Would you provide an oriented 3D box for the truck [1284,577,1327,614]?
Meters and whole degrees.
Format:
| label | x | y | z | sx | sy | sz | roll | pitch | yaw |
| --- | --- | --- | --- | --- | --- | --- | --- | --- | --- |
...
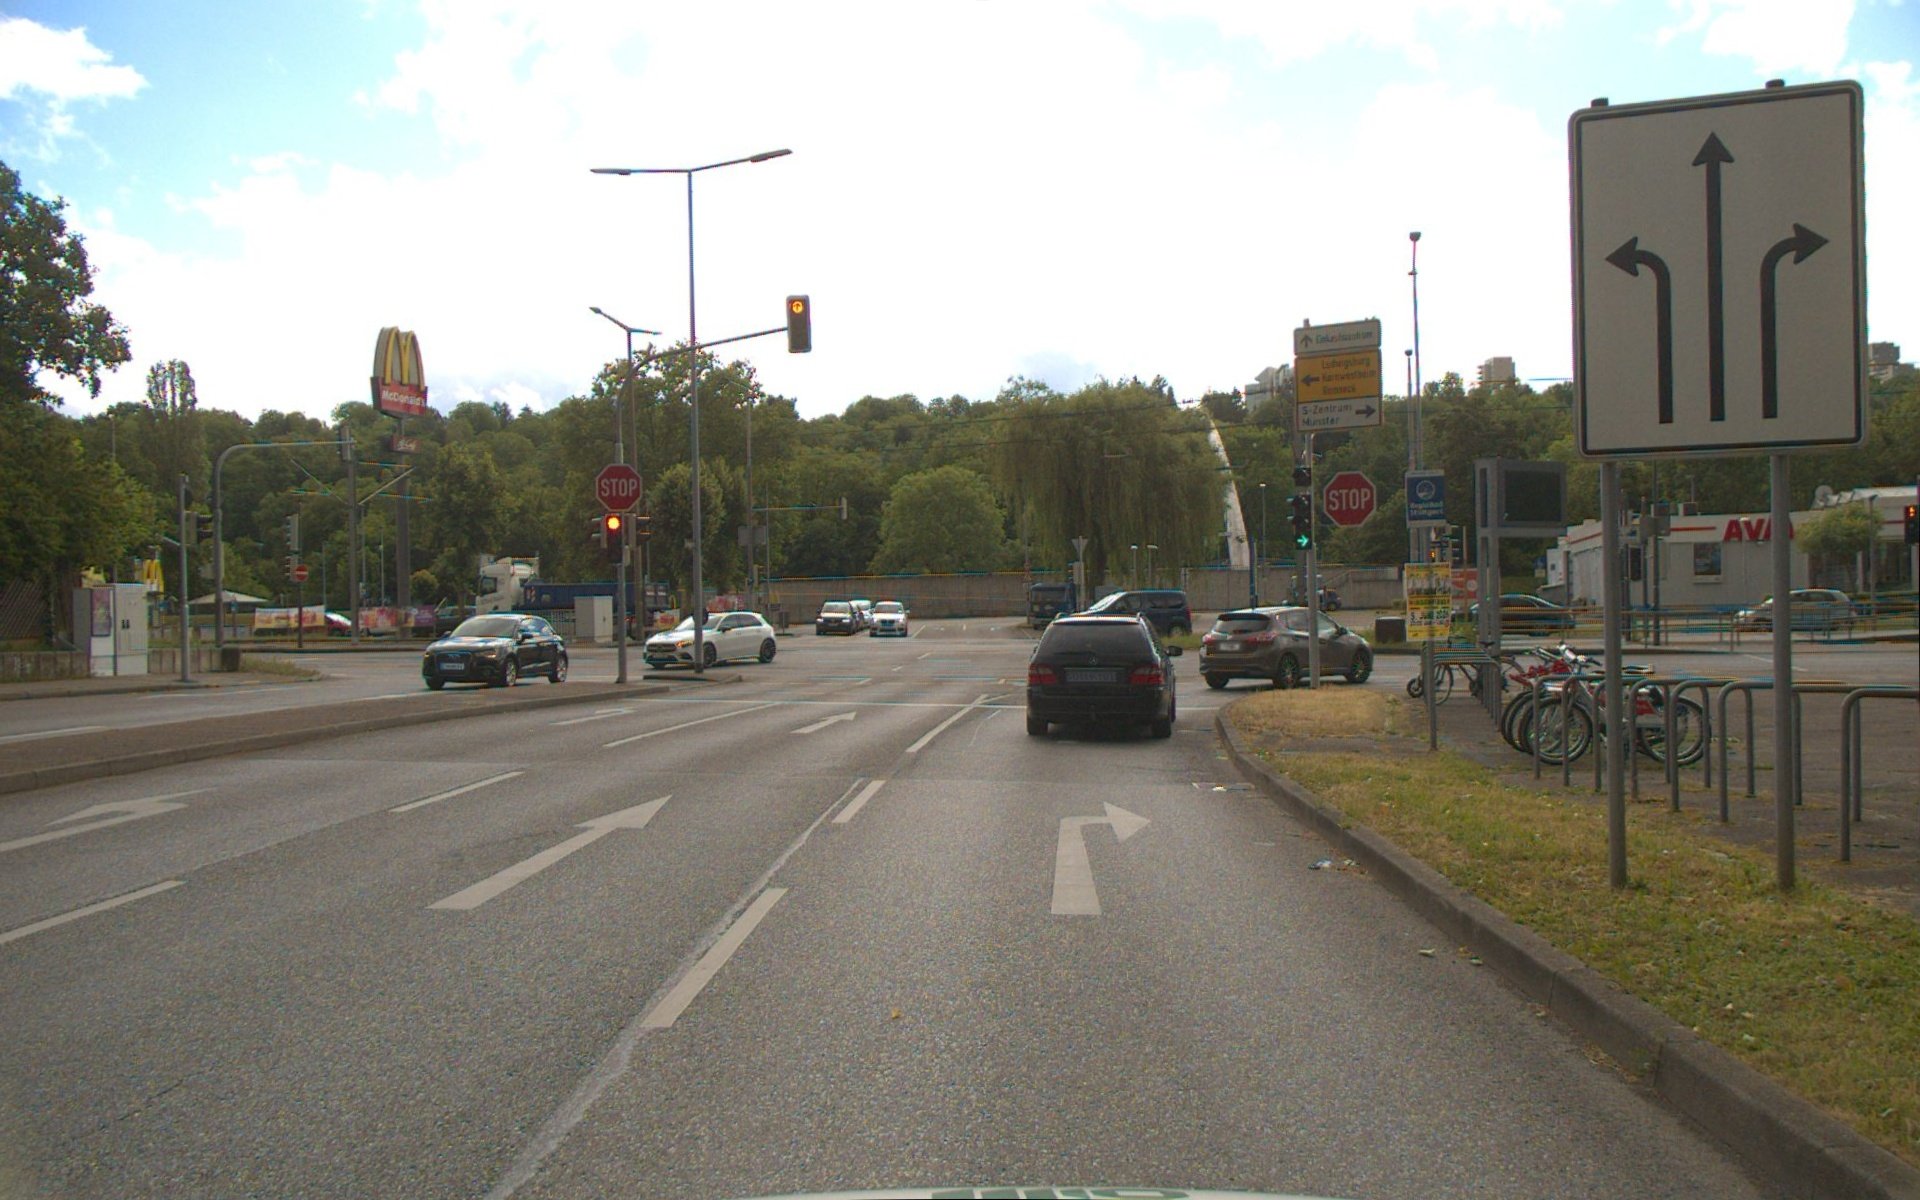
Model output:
| label | x | y | z | sx | sy | sz | roll | pitch | yaw |
| --- | --- | --- | --- | --- | --- | --- | --- | --- | --- |
| truck | 20.351 | -0.222 | 97.570 | 2.187 | 2.049 | 5.244 | -2 | -1 | 10 |

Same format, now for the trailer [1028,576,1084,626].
| label | x | y | z | sx | sy | sz | roll | pitch | yaw |
| --- | --- | --- | --- | --- | --- | --- | --- | --- | --- |
| trailer | 5.389 | 0.100 | 92.265 | 2.302 | 2.627 | 4.924 | -2 | -1 | 13 |

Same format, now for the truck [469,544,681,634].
| label | x | y | z | sx | sy | sz | roll | pitch | yaw |
| --- | --- | --- | --- | --- | --- | --- | --- | --- | --- |
| truck | -17.502 | -0.468 | 75.265 | 8.908 | 3.650 | 3.221 | -2 | -1 | 17 |

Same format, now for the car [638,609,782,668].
| label | x | y | z | sx | sy | sz | roll | pitch | yaw |
| --- | --- | --- | --- | --- | --- | --- | --- | --- | --- |
| car | -6.678 | 1.018 | 44.605 | 1.570 | 1.430 | 4.286 | -1 | 0 | 28 |

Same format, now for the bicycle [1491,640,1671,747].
| label | x | y | z | sx | sy | sz | roll | pitch | yaw |
| --- | --- | --- | --- | --- | --- | --- | --- | --- | --- |
| bicycle | 6.755 | 1.017 | 18.041 | 1.741 | 1.130 | 0.541 | -1 | -2 | 5 |

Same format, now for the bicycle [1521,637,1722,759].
| label | x | y | z | sx | sy | sz | roll | pitch | yaw |
| --- | --- | --- | --- | --- | --- | --- | --- | --- | --- |
| bicycle | 6.341 | 0.940 | 15.888 | 1.743 | 1.130 | 0.425 | -2 | -2 | 24 |

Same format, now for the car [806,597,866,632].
| label | x | y | z | sx | sy | sz | roll | pitch | yaw |
| --- | --- | --- | --- | --- | --- | --- | --- | --- | --- |
| car | -6.279 | 0.732 | 84.105 | 1.951 | 1.668 | 4.004 | -1 | 0 | 13 |

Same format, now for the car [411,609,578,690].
| label | x | y | z | sx | sy | sz | roll | pitch | yaw |
| --- | --- | --- | --- | --- | --- | --- | --- | --- | --- |
| car | -9.160 | 0.939 | 32.866 | 1.581 | 1.441 | 3.899 | -1 | 0 | 11 |

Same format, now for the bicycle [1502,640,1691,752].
| label | x | y | z | sx | sy | sz | roll | pitch | yaw |
| --- | --- | --- | --- | --- | --- | --- | --- | --- | --- |
| bicycle | 6.633 | 0.997 | 17.293 | 1.741 | 1.130 | 0.580 | -1 | -1 | 5 |

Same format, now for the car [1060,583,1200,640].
| label | x | y | z | sx | sy | sz | roll | pitch | yaw |
| --- | --- | --- | --- | --- | --- | --- | --- | --- | --- |
| car | 5.786 | 0.387 | 56.279 | 4.474 | 1.805 | 1.599 | -1 | 0 | -19 |

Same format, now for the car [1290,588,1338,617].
| label | x | y | z | sx | sy | sz | roll | pitch | yaw |
| --- | --- | --- | --- | --- | --- | --- | --- | --- | --- |
| car | 23.952 | 0.182 | 111.965 | 3.083 | 1.850 | 1.404 | -2 | -1 | 13 |

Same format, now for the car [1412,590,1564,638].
| label | x | y | z | sx | sy | sz | roll | pitch | yaw |
| --- | --- | --- | --- | --- | --- | --- | --- | --- | --- |
| car | 18.279 | 0.481 | 57.465 | 4.944 | 1.550 | 1.745 | -1 | 0 | 16 |

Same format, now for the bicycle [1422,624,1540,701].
| label | x | y | z | sx | sy | sz | roll | pitch | yaw |
| --- | --- | --- | --- | --- | --- | --- | --- | --- | --- |
| bicycle | 7.982 | 0.959 | 25.391 | 1.653 | 1.130 | 0.480 | -1 | 1 | 5 |

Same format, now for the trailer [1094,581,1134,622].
| label | x | y | z | sx | sy | sz | roll | pitch | yaw |
| --- | --- | --- | --- | --- | --- | --- | --- | --- | --- |
| trailer | 8.778 | 0.109 | 94.036 | 1.951 | 2.222 | 4.003 | -2 | -1 | 9 |

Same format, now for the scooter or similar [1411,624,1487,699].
| label | x | y | z | sx | sy | sz | roll | pitch | yaw |
| --- | --- | --- | --- | --- | --- | --- | --- | --- | --- |
| scooter or similar | 7.964 | 1.000 | 26.969 | 1.156 | 1.190 | 0.294 | -1 | 0 | 13 |

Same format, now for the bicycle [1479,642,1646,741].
| label | x | y | z | sx | sy | sz | roll | pitch | yaw |
| --- | --- | --- | --- | --- | --- | --- | --- | --- | --- |
| bicycle | 7.014 | 1.066 | 19.316 | 1.741 | 1.130 | 0.553 | 0 | -1 | 5 |

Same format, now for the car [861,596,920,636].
| label | x | y | z | sx | sy | sz | roll | pitch | yaw |
| --- | --- | --- | --- | --- | --- | --- | --- | --- | --- |
| car | -3.469 | 0.770 | 82.810 | 1.951 | 1.892 | 4.004 | -1 | 0 | 13 |

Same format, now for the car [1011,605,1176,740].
| label | x | y | z | sx | sy | sz | roll | pitch | yaw |
| --- | --- | --- | --- | --- | --- | --- | --- | --- | --- |
| car | 1.833 | 0.850 | 21.411 | 1.783 | 1.536 | 4.578 | 0 | 0 | 9 |

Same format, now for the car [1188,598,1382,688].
| label | x | y | z | sx | sy | sz | roll | pitch | yaw |
| --- | --- | --- | --- | --- | --- | --- | --- | --- | --- |
| car | 6.369 | 0.796 | 32.119 | 1.704 | 1.557 | 4.119 | -1 | 0 | 45 |

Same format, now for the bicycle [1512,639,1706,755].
| label | x | y | z | sx | sy | sz | roll | pitch | yaw |
| --- | --- | --- | --- | --- | --- | --- | --- | --- | --- |
| bicycle | 6.498 | 0.975 | 16.619 | 1.740 | 1.130 | 0.455 | -1 | -1 | 10 |

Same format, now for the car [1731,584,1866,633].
| label | x | y | z | sx | sy | sz | roll | pitch | yaw |
| --- | --- | --- | --- | --- | --- | --- | --- | --- | --- |
| car | 27.883 | 0.271 | 55.080 | 3.689 | 1.534 | 1.705 | -1 | 0 | 13 |
